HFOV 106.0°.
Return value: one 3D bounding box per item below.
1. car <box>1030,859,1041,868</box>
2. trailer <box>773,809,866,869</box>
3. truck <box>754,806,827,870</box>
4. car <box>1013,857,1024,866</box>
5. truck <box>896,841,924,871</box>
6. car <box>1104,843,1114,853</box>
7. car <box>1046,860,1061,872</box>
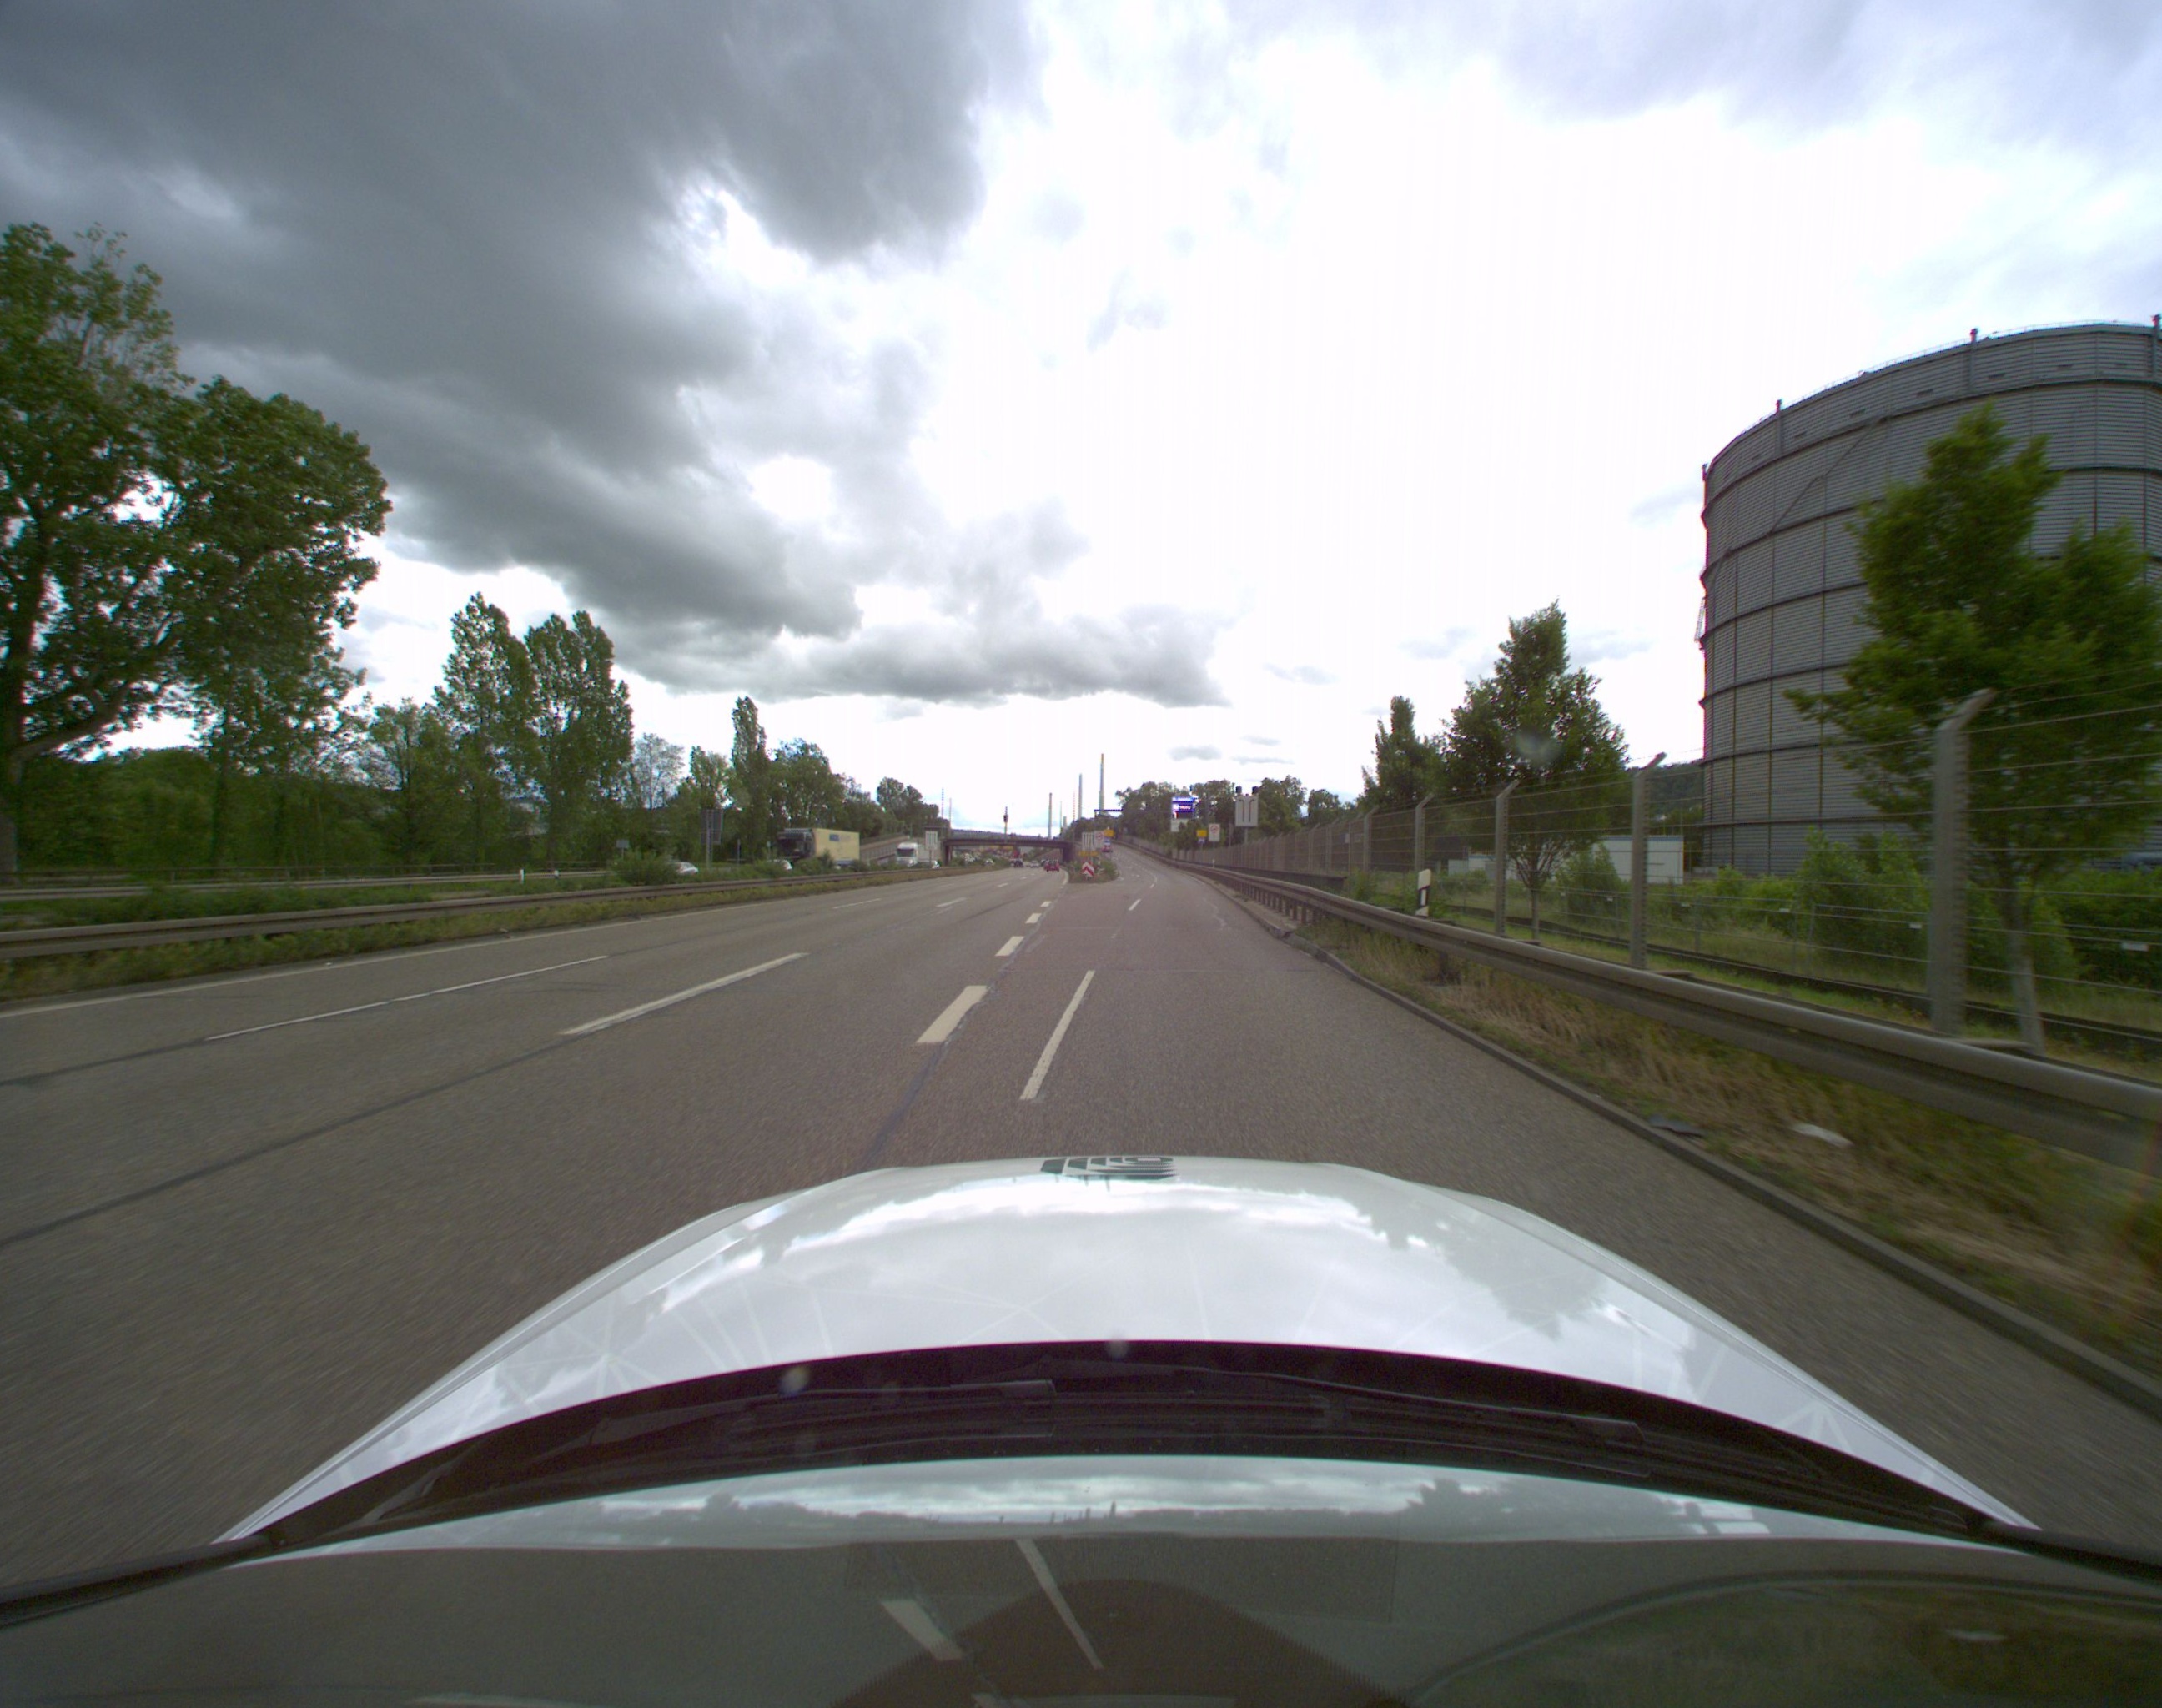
[{"bbox_3d":[-9.411,1.887,167.467,1.987,1.684,4.000,1,1,0],"label":"car"},{"bbox_3d":[-22.664,-1.153,71.918,3.453,4.673,14.777,1,0,0],"label":"trailer"},{"bbox_3d":[-22.605,-1.178,63.789,3.453,4.673,6.209,1,0,-1],"label":"truck"},{"bbox_3d":[-13.285,1.570,173.224,1.987,1.684,4.000,1,1,0],"label":"car"},{"bbox_3d":[-23.313,0.232,111.148,2.782,3.937,5.308,1,-1,-2],"label":"truck"},{"bbox_3d":[5.023,-1.063,146.321,1.742,1.580,4.089,-2,0,4],"label":"car"},{"bbox_3d":[-3.606,1.514,106.152,1.989,1.420,3.997,1,1,-2],"label":"car"}]
